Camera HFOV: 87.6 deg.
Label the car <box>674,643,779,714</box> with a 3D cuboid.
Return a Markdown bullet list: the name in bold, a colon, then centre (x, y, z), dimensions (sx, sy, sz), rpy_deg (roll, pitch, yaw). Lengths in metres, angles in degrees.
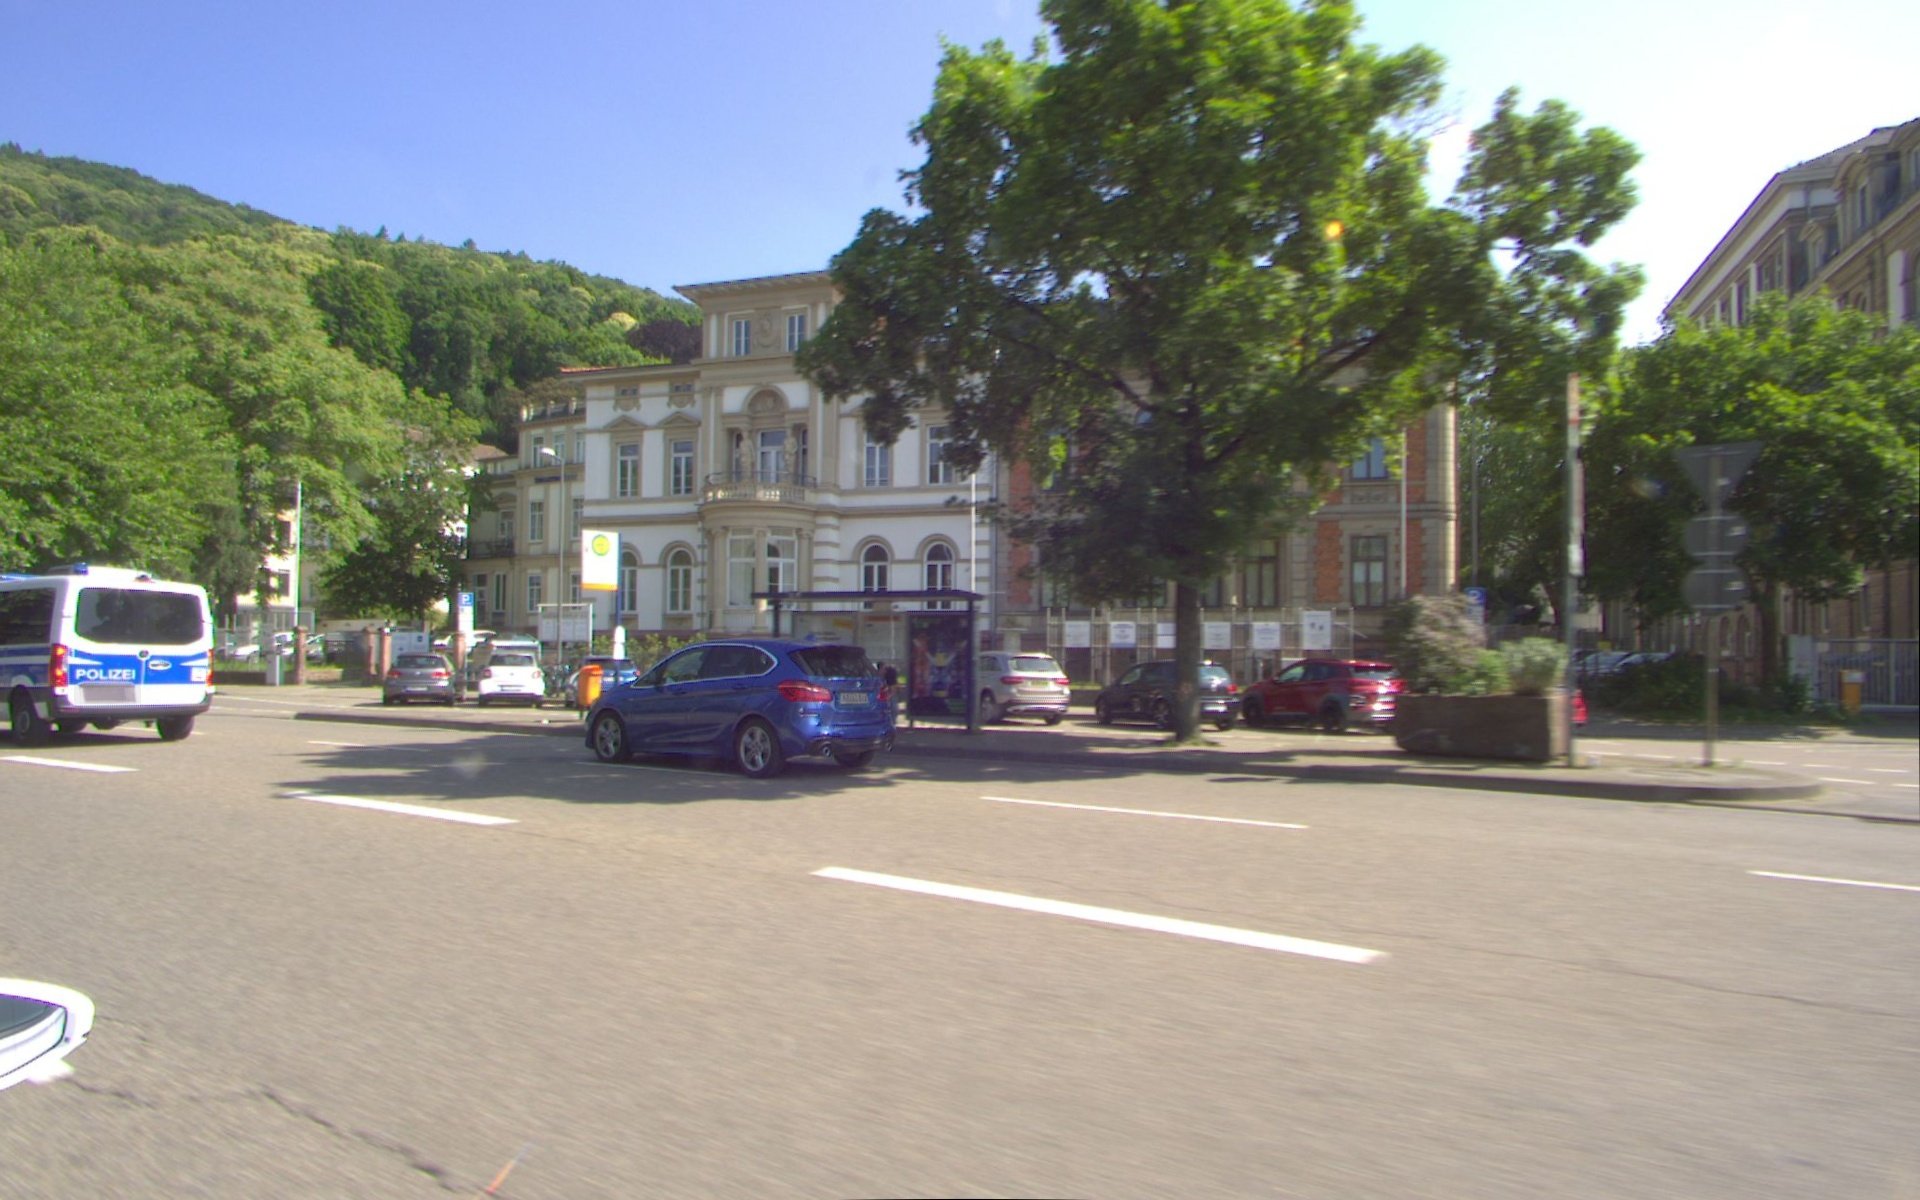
- **car**: centre (-6.207, 1.996, 26.244), dimensions (1.688, 1.717, 4.258), rpy_deg (2, -3, -27)

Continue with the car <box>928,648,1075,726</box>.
- **car**: centre (0.869, 1.982, 23.694), dimensions (1.687, 1.649, 4.302), rpy_deg (2, -3, -25)

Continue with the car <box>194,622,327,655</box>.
- **car**: centre (-30.407, 1.680, 43.678), dimensions (1.791, 1.353, 4.471), rpy_deg (0, -2, 23)

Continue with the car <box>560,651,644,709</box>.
- **car**: centre (-9.869, 2.145, 27.459), dimensions (1.688, 1.460, 3.797), rpy_deg (2, -3, -27)

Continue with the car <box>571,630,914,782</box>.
- **car**: centre (-2.758, 1.185, 12.298), dimensions (4.215, 1.560, 1.715), rpy_deg (-1, -4, 36)

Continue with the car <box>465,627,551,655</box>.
- **car**: centre (-24.048, 2.190, 53.396), dimensions (1.791, 1.437, 4.053), rpy_deg (0, -2, 23)

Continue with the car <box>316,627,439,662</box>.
- **car**: centre (-23.916, 1.816, 41.260), dimensions (1.958, 1.353, 4.045), rpy_deg (0, -2, 23)

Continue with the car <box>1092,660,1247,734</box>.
- **car**: centre (4.520, 2.088, 22.165), dimensions (1.579, 1.434, 3.813), rpy_deg (2, -3, -20)

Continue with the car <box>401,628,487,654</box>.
- **car**: centre (-28.572, 2.267, 55.575), dimensions (1.791, 1.353, 4.045), rpy_deg (0, -2, 23)

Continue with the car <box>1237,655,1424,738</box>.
- **car**: centre (7.898, 2.014, 21.729), dimensions (1.721, 1.594, 3.869), rpy_deg (2, -3, -20)

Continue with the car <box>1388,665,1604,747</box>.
- **car**: centre (10.835, 2.097, 20.536), dimensions (1.720, 1.435, 3.693), rpy_deg (2, -3, -20)

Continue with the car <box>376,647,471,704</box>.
- **car**: centre (-15.282, 2.115, 28.716), dimensions (1.797, 1.479, 4.099), rpy_deg (2, -3, -20)

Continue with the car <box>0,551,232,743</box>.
- **car**: centre (-13.653, 0.727, 15.304), dimensions (4.852, 2.539, 2.074), rpy_deg (-1, -3, 27)

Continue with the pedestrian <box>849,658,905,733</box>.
- **pedestrian**: centre (-1.404, 1.602, 17.043), dimensions (0.776, 1.212, 1.022), rpy_deg (1, -2, 5)

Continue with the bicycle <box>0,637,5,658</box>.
- **bicycle**: centre (-50.539, 2.462, 52.167), dimensions (1.806, 1.099, 0.537), rpy_deg (-1, -1, 28)

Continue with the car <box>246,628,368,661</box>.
- **car**: centre (-27.946, 1.897, 43.008), dimensions (1.791, 1.353, 4.089), rpy_deg (0, -2, 23)

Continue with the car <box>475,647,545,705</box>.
- **car**: centre (-12.764, 2.104, 28.458), dimensions (1.687, 1.530, 3.800), rpy_deg (2, -3, -24)

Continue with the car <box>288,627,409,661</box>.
- **car**: centre (-25.794, 1.867, 42.379), dimensions (1.829, 1.353, 4.045), rpy_deg (0, -2, 23)

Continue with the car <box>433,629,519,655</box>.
- **car**: centre (-26.385, 2.291, 54.752), dimensions (1.791, 1.353, 4.080), rpy_deg (0, -2, 23)
